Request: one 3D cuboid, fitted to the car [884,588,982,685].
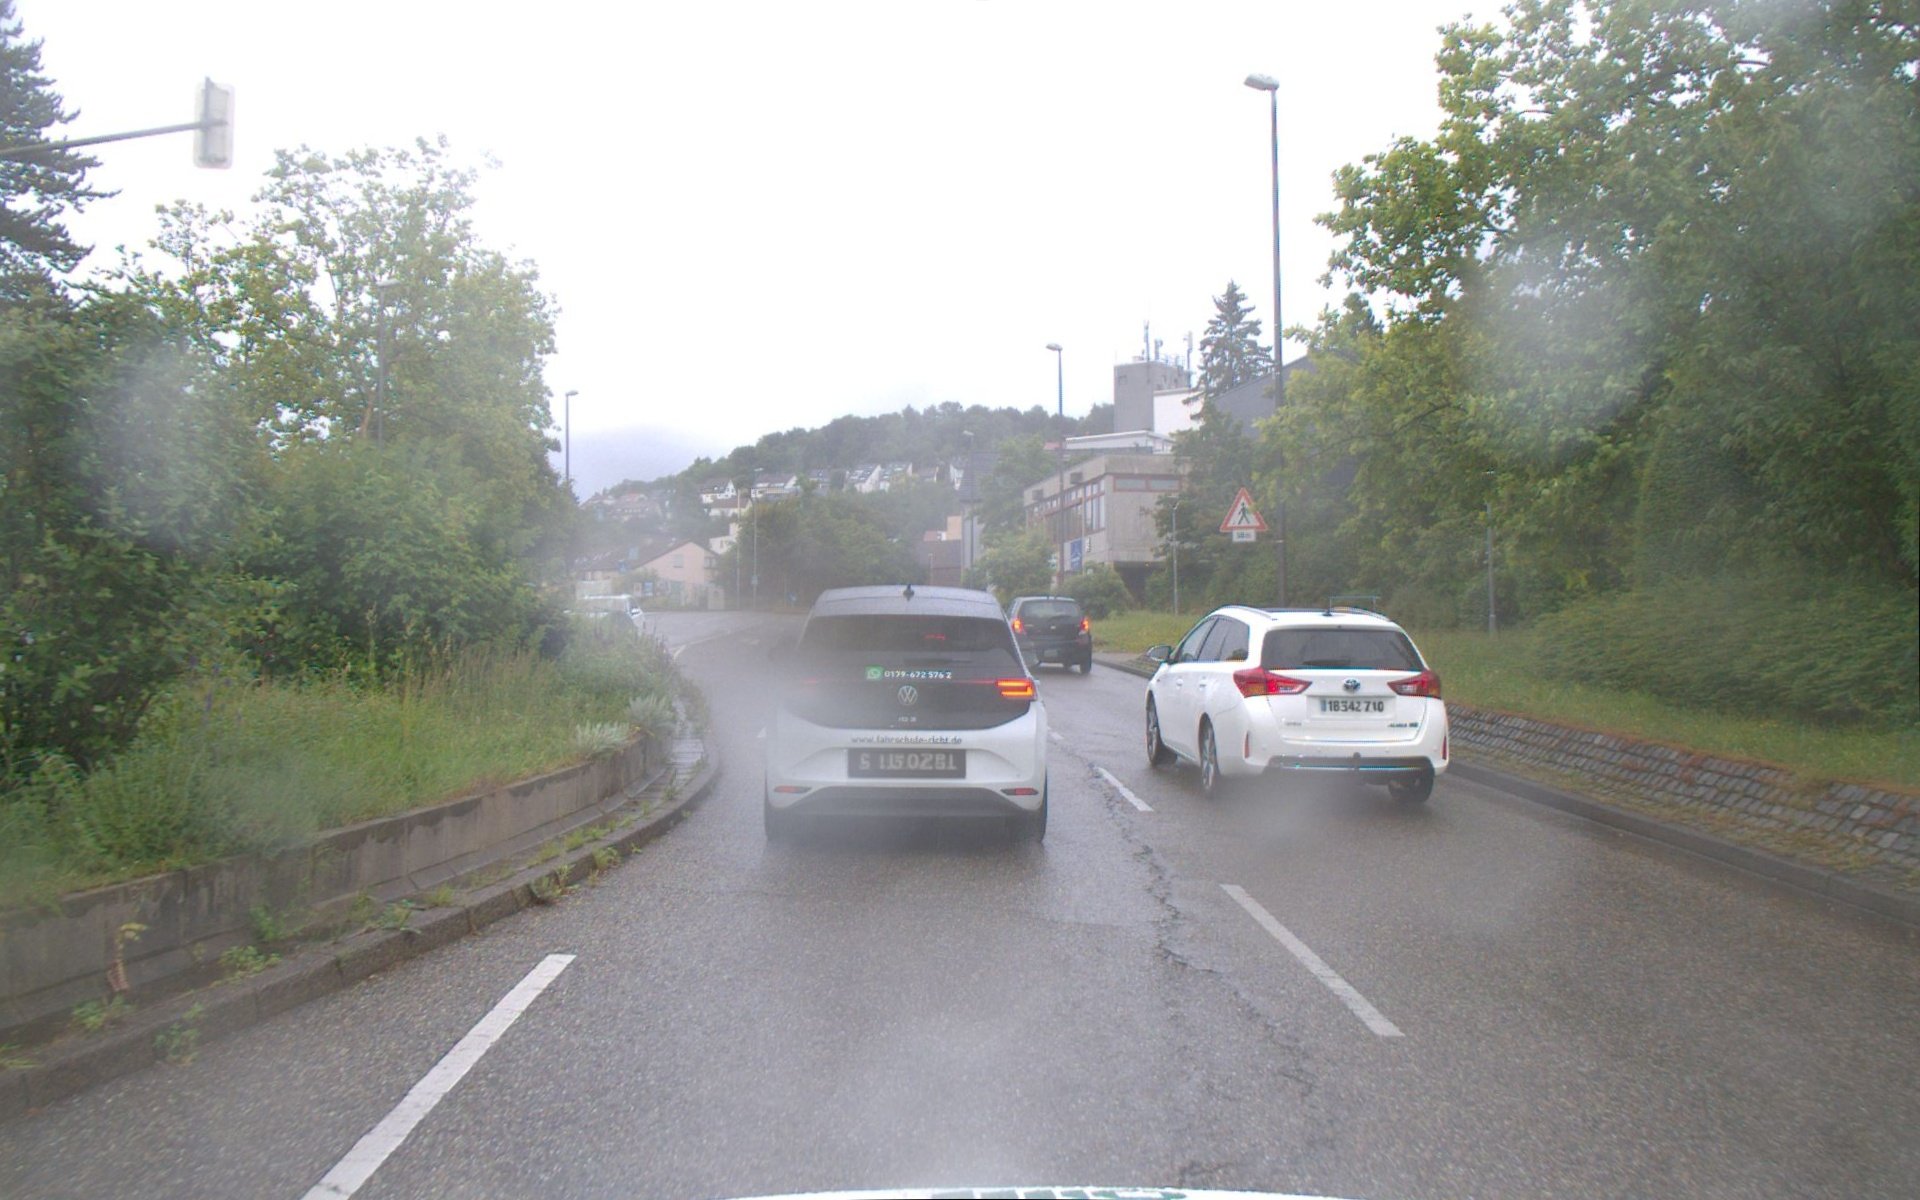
[{"bbox_3d":[-0.524,0.570,28.530,1.536,1.557,3.997,0,0,-3],"label":"car"}]

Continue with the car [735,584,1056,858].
[{"bbox_3d":[-0.385,0.710,11.388,1.791,1.526,4.167,0,-1,-1],"label":"car"}]

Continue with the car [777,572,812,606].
[{"bbox_3d":[-10.441,-0.664,104.712,1.954,2.049,3.997,1,-1,-3],"label":"car"}]

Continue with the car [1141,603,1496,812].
[{"bbox_3d":[2.715,0.771,13.571,1.811,1.434,4.299,0,-1,-3],"label":"car"}]

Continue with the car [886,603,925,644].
[{"bbox_3d":[-2.831,1.236,86.380,1.953,2.049,3.999,1,-1,-1],"label":"car"}]

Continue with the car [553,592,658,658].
[{"bbox_3d":[-9.532,0.650,44.807,1.953,1.691,4.596,-1,0,-2],"label":"car"}]

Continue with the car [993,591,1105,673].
[{"bbox_3d":[1.747,0.637,33.627,1.953,1.478,3.770,-2,-1,-1],"label":"car"}]
